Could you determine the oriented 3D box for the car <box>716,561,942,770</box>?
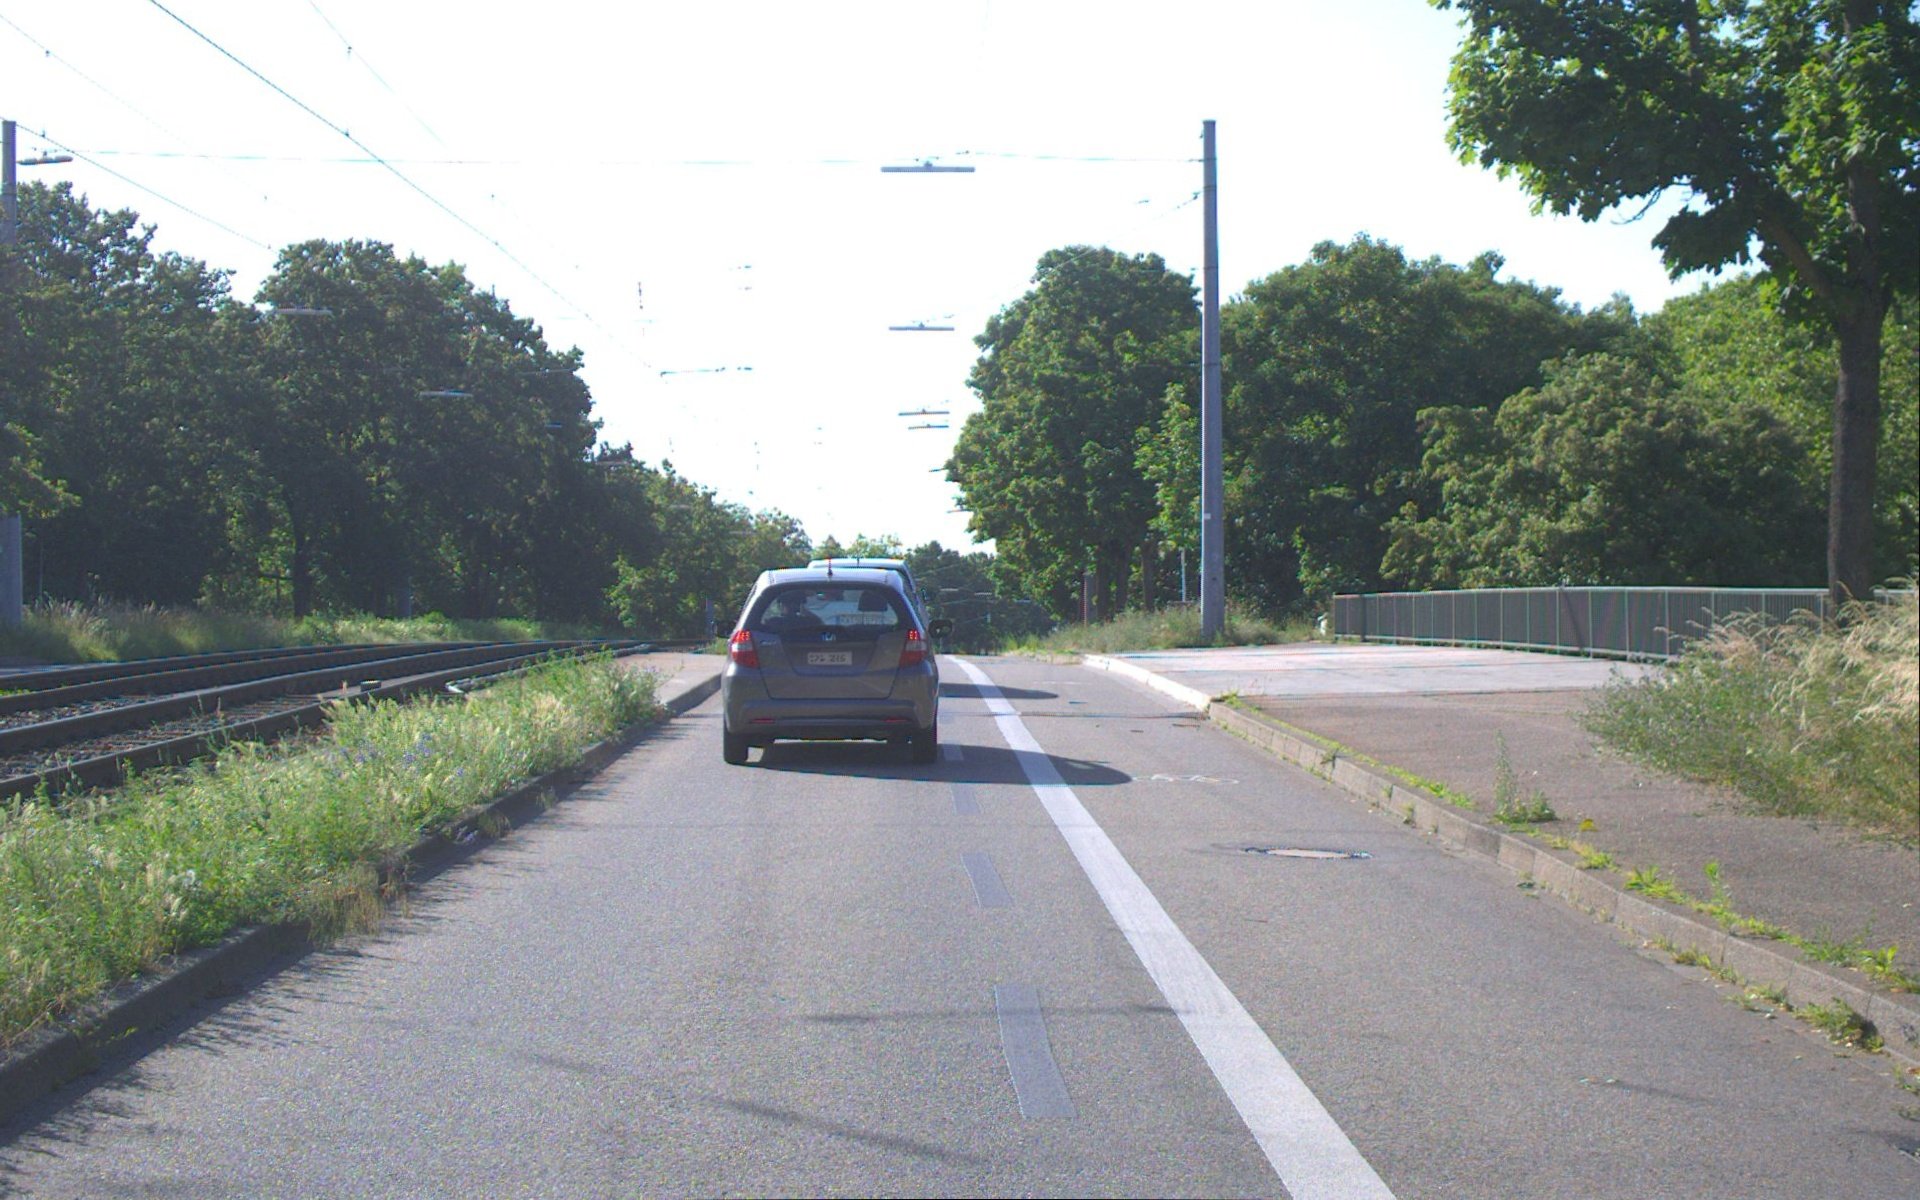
[{"bbox_3d":[-1.017,0.475,27.865,1.670,1.502,3.811,1,1,-1],"label":"car"}]

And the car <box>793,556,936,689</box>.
[{"bbox_3d":[-1.145,0.243,42.757,1.654,1.502,3.811,1,1,0],"label":"car"}]
